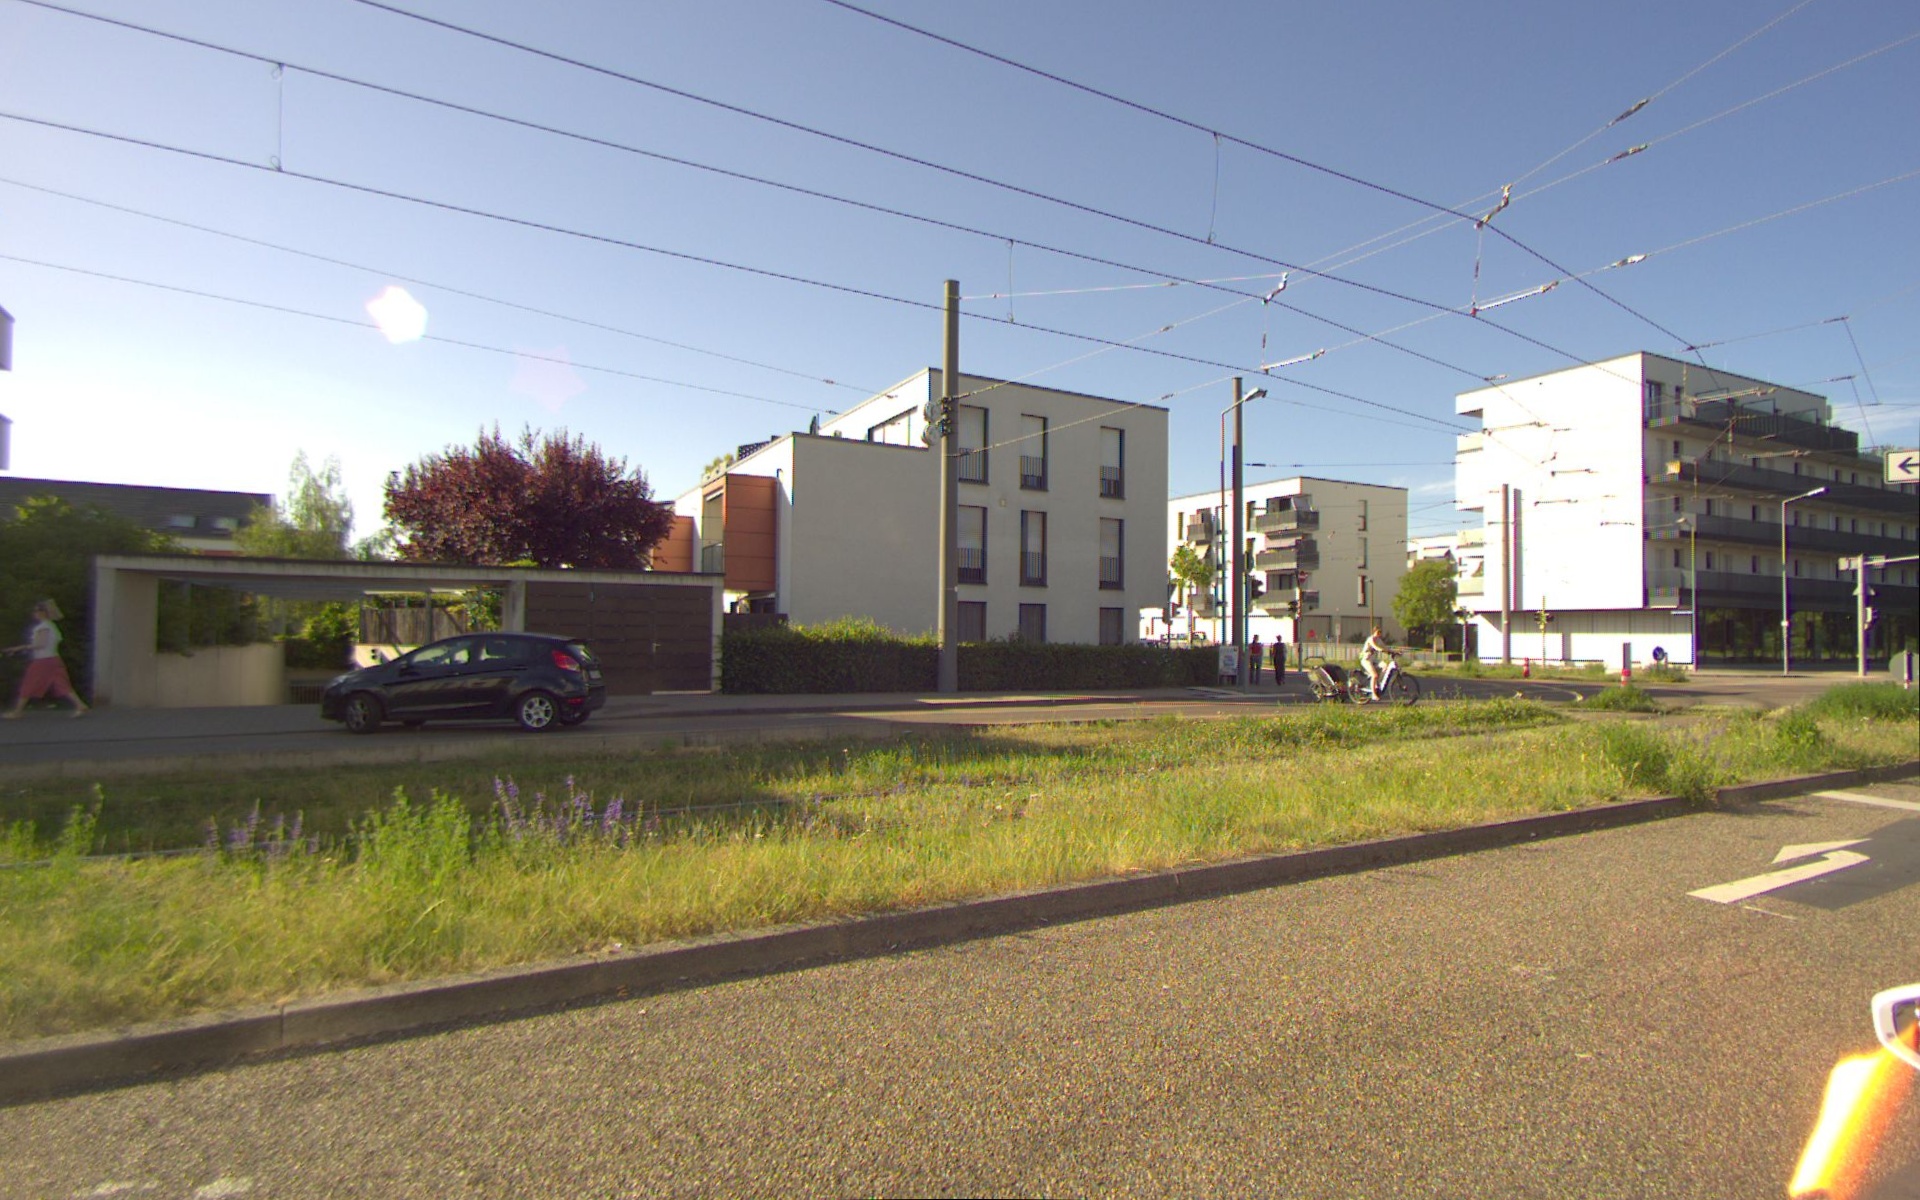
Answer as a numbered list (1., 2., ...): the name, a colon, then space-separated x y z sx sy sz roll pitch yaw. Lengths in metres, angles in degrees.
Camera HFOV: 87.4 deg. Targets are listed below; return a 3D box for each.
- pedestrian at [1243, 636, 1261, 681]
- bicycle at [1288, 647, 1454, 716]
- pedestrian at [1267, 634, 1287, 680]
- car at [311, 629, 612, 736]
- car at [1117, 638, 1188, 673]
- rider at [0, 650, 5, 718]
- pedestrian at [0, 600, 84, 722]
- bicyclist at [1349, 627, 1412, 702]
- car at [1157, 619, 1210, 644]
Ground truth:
1. pedestrian: 9.995 2.000 34.338 0.548 1.483 0.742 1 0 19
2. bicycle: 9.375 1.824 23.175 0.988 1.190 3.664 1 1 -31
3. pedestrian: 10.717 1.919 33.944 0.548 1.483 0.611 1 0 23
4. car: -7.334 1.211 15.112 3.670 1.449 1.708 0 -3 -6
5. car: 9.533 2.733 49.855 1.574 1.674 3.475 1 -3 -30
6. rider: -14.768 1.252 14.627 1.031 1.016 0.775 1 0 -26
7. pedestrian: -13.874 0.893 15.056 0.897 1.771 0.813 1 0 -26
8. bicyclist: 9.549 1.446 22.829 0.965 1.651 0.905 1 0 -31
9. car: 17.805 2.494 80.102 1.977 1.862 3.967 1 0 -31
